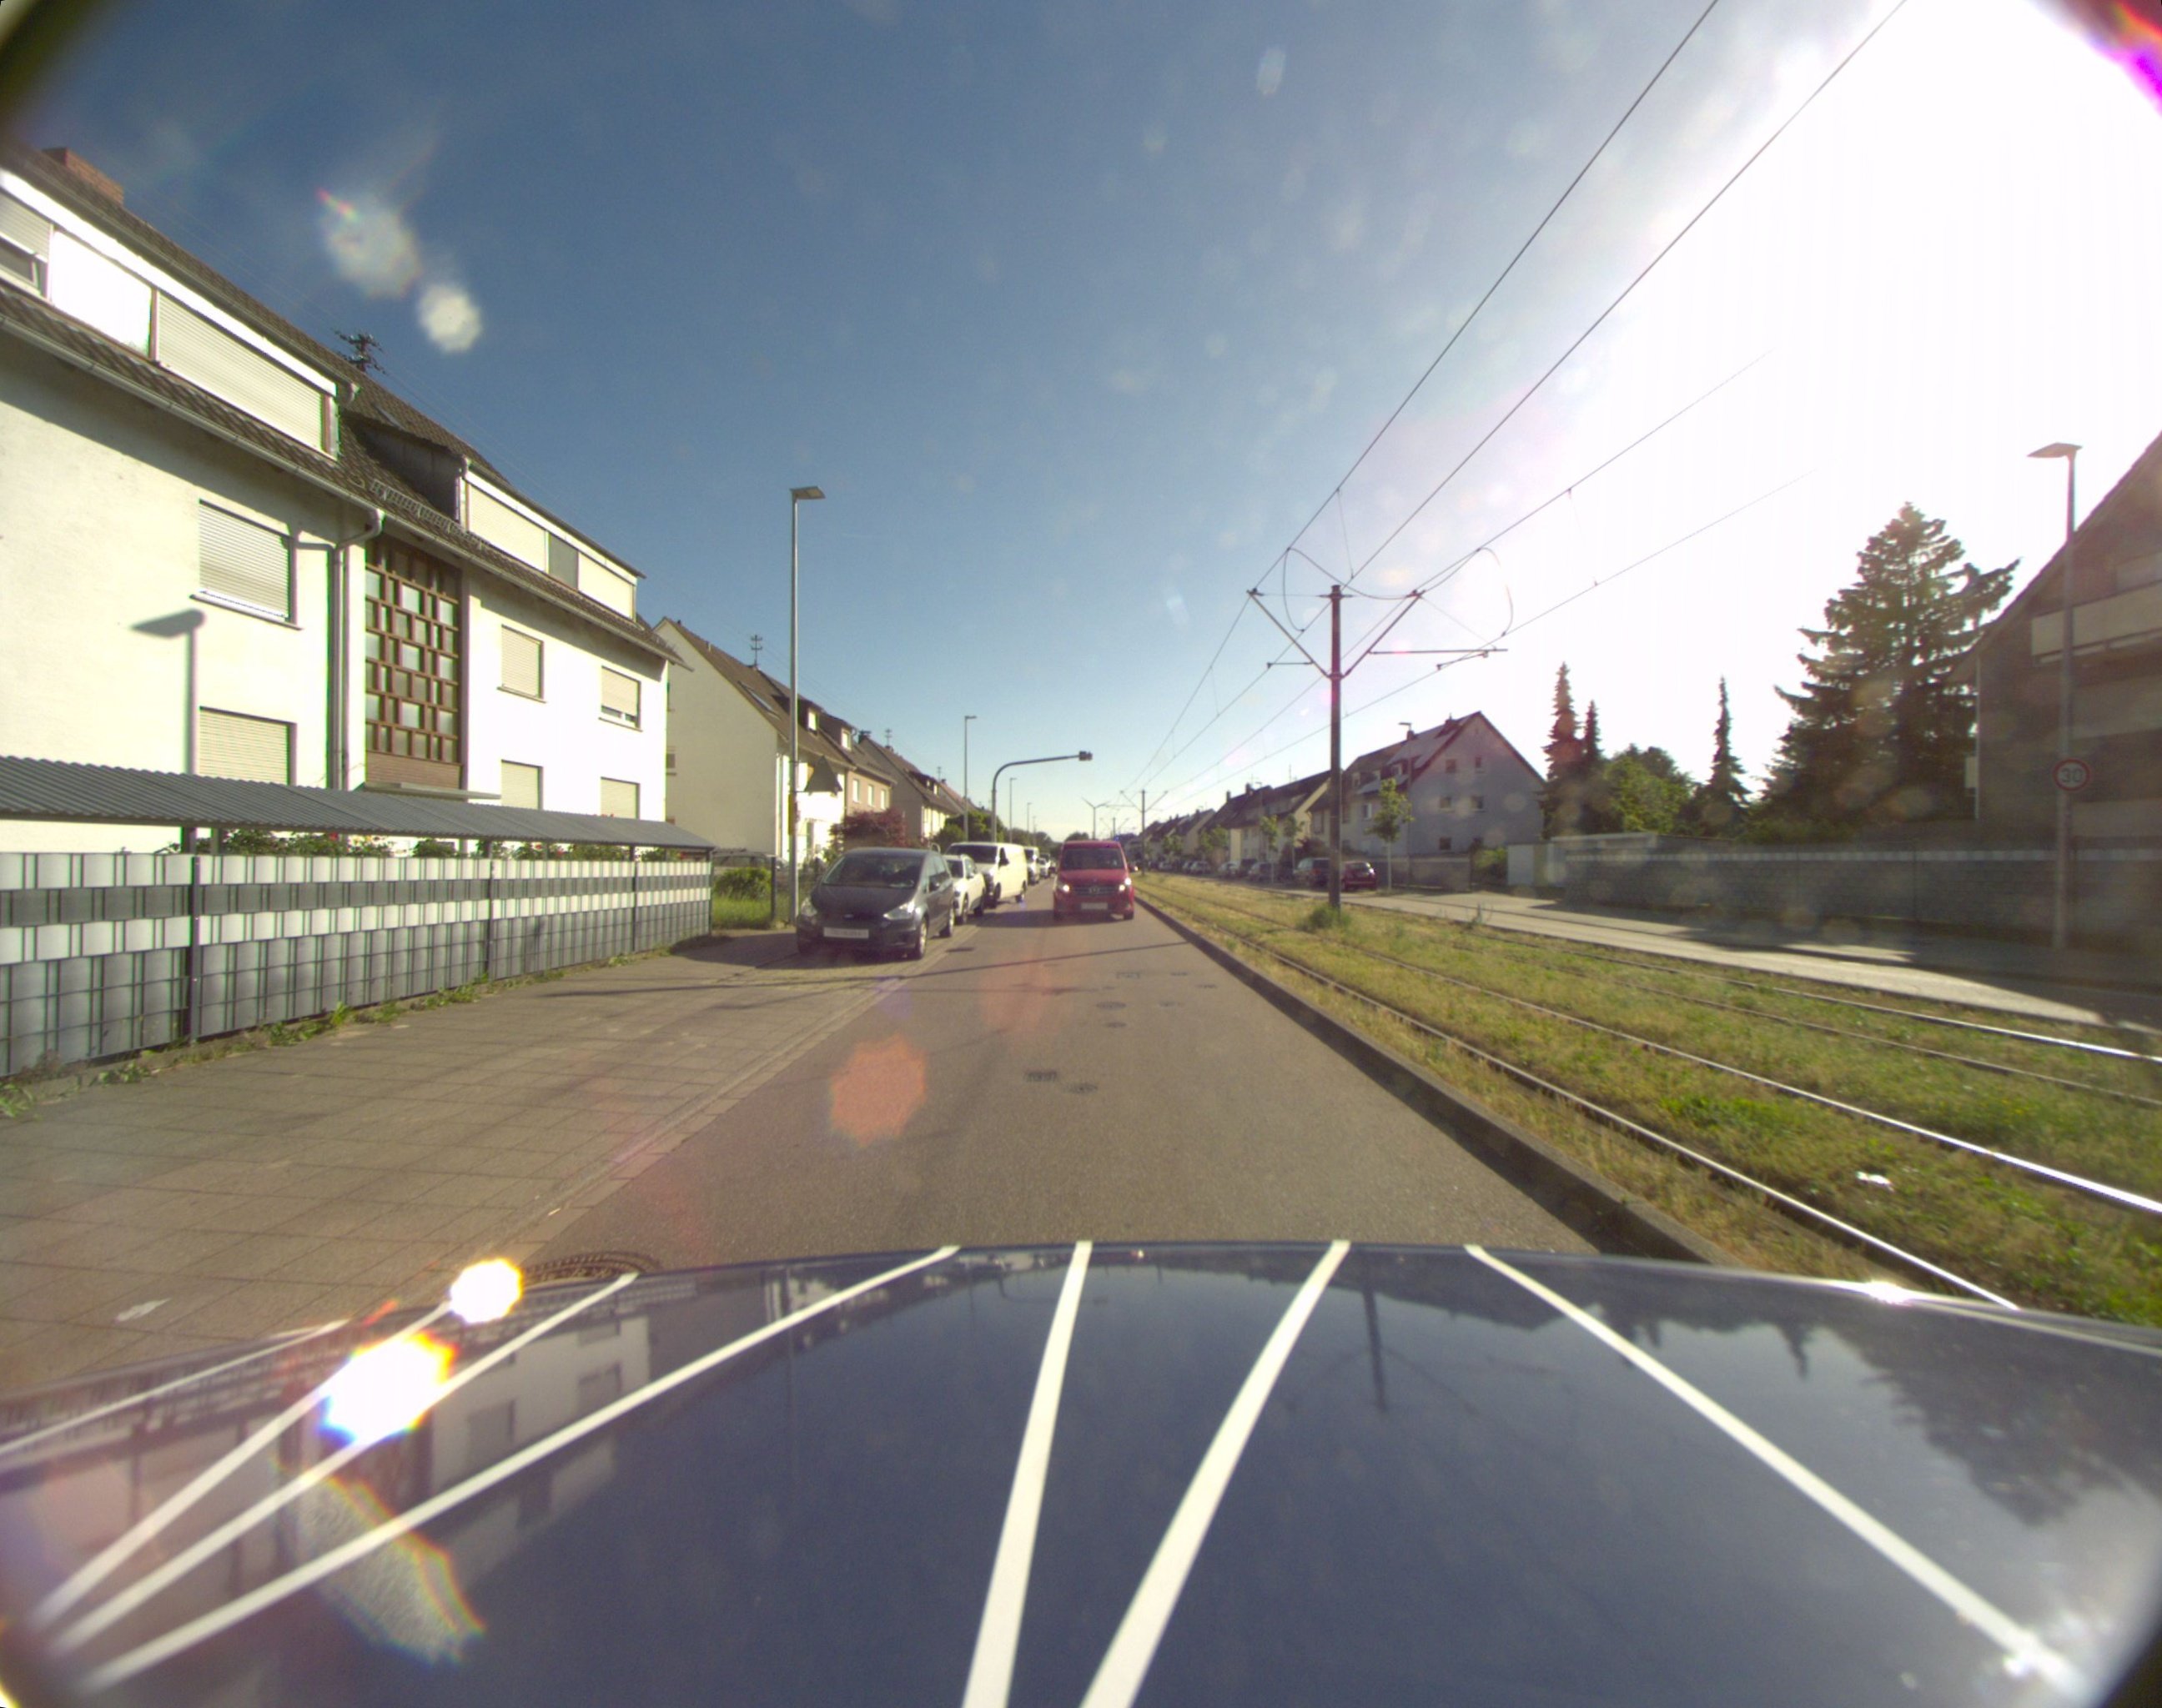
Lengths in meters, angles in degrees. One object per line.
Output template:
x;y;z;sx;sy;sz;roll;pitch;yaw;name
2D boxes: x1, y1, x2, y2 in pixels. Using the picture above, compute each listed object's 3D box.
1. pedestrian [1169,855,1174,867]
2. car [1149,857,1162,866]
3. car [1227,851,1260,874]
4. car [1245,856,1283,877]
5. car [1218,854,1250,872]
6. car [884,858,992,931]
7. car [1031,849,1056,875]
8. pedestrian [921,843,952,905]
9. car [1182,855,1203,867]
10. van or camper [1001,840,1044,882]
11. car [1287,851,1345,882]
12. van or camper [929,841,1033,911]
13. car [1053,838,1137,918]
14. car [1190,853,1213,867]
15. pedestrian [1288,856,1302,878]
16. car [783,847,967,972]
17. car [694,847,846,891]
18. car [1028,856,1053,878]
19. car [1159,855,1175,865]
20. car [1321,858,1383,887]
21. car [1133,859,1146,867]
14.533;1.114;121.711;0.617;1.804;0.678;-1;1;-10;pedestrian
12.526;1.252;127.935;1.623;1.503;4.085;-1;0;-1;car
13.510;0.683;63.434;1.750;1.812;4.841;-1;0;0;car
13.794;0.915;57.418;1.681;1.482;4.049;-1;0;-3;car
13.797;0.811;68.771;1.965;1.531;4.556;-1;0;-1;car
-3.277;0.866;18.170;1.660;1.484;4.160;1;0;1;car
-3.283;0.677;67.134;1.965;2.131;5.335;2;0;-1;car
-4.460;0.604;23.565;0.700;1.901;0.759;-1;1;8;pedestrian
13.459;0.817;91.899;1.693;1.464;4.313;-1;0;-2;car
-3.371;0.395;45.204;1.999;2.257;6.304;2;0;0;van or camper
13.624;0.719;44.330;1.824;1.674;4.846;-1;0;0;car
-2.995;0.634;24.101;2.032;1.945;5.298;1;0;6;van or camper
0.237;0.566;20.788;1.999;1.889;5.389;0;0;-2;car
13.586;0.683;85.653;1.693;1.467;4.442;-1;0;-2;car
15.673;0.943;55.665;0.697;1.630;0.919;-1;1;-2;pedestrian
-3.165;0.762;12.757;1.796;1.619;4.860;3;0;-1;car
-11.157;0.530;27.520;4.724;1.469;1.906;1;1;-2;car
-3.238;1.036;61.472;1.730;1.636;4.318;2;0;-1;car
13.005;0.921;115.031;1.662;1.428;4.102;0;0;-2;car
13.774;0.896;38.878;1.699;1.396;4.078;1;0;0;car
11.562;1.767;149.295;1.926;1.551;4.857;-1;0;-3;car
